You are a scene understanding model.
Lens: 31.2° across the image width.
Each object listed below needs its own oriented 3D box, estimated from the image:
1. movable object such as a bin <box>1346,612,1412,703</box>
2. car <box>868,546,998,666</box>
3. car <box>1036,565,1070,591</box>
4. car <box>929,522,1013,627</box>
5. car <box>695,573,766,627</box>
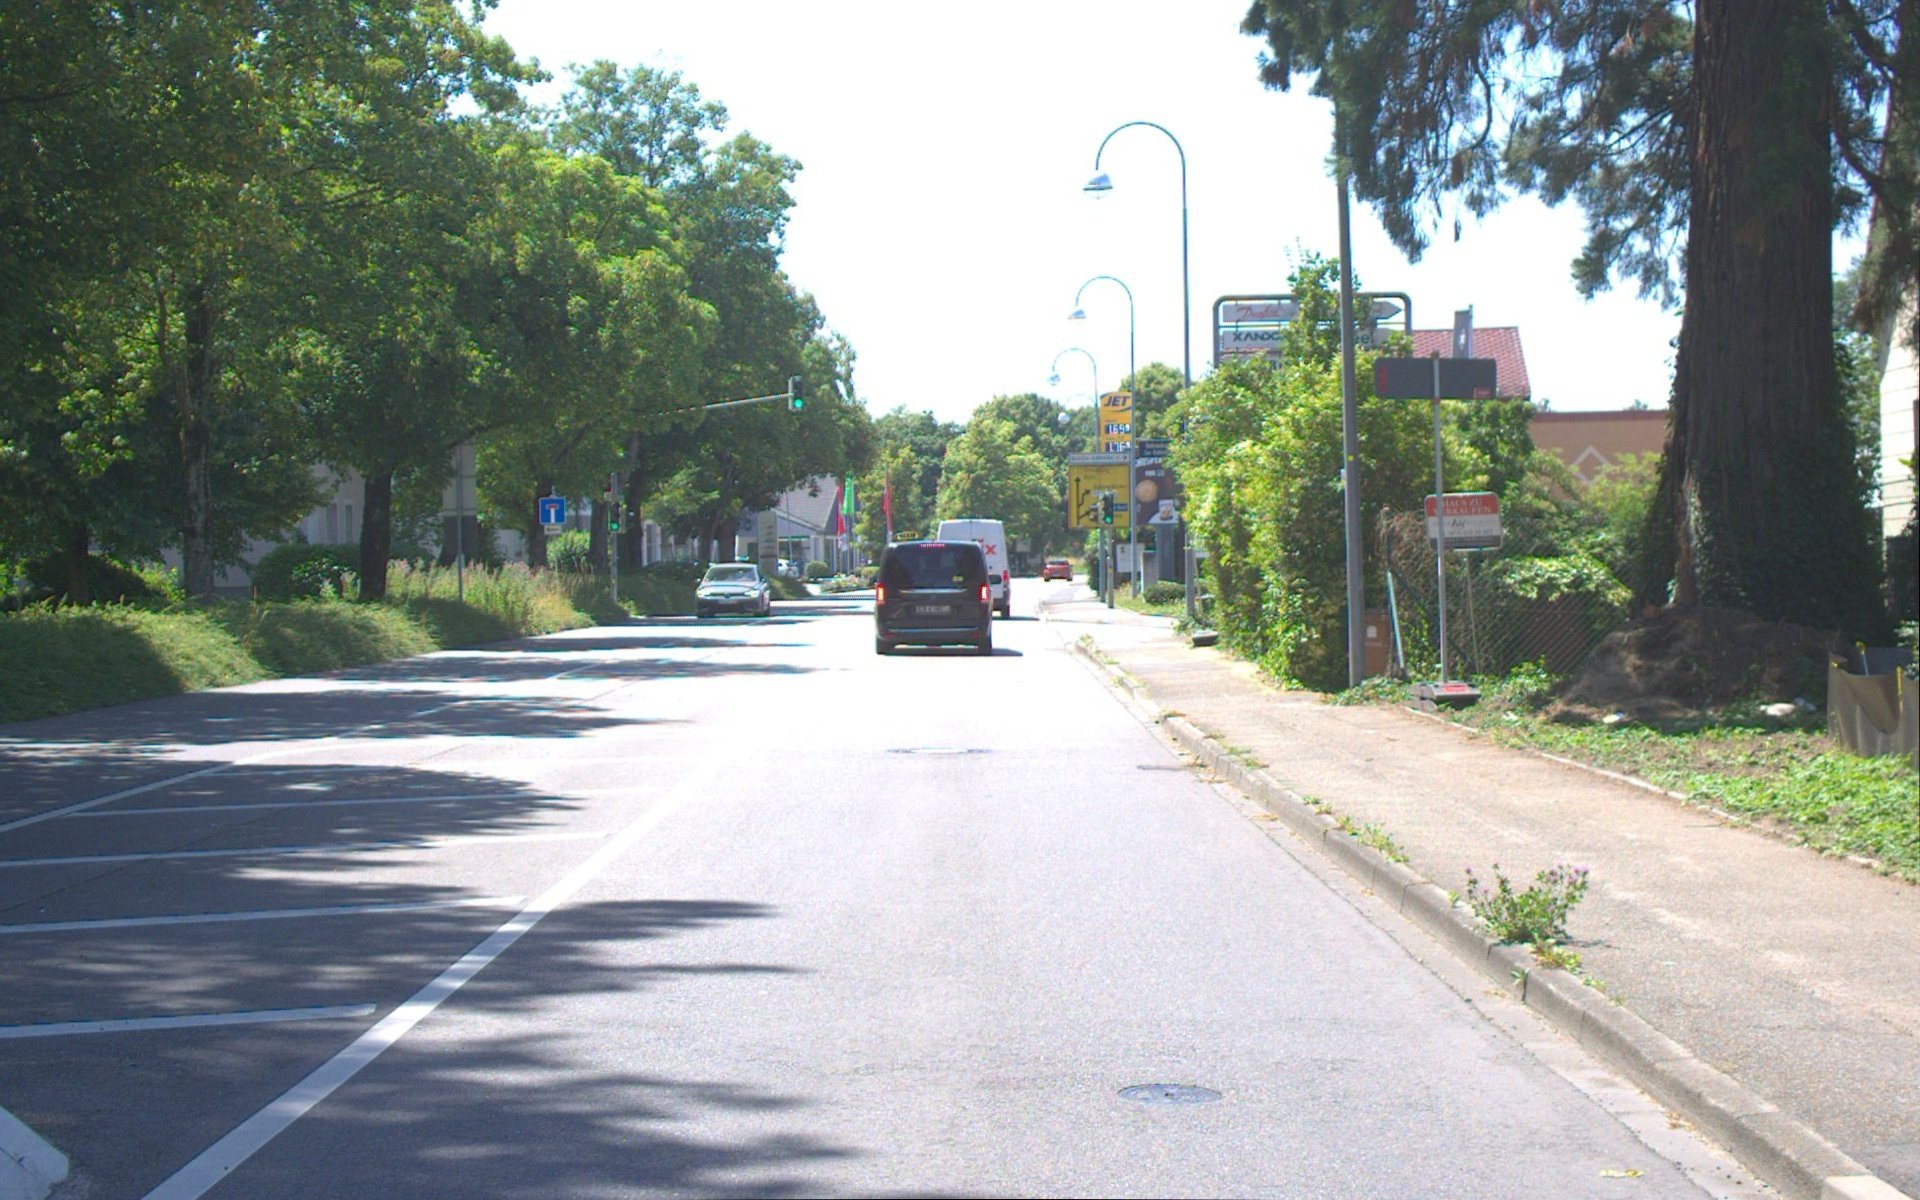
[{"bbox_3d":[4.324,0.586,35.470,0.471,0.924,0.523,1,0,34],"label":"movable object such as a bin"},{"bbox_3d":[-0.480,0.067,56.242,1.993,1.887,4.001,0,1,-2],"label":"car"},{"bbox_3d":[6.096,-1.467,225.744,1.857,1.637,4.001,0,1,-4],"label":"car"},{"bbox_3d":[0.323,-0.703,90.894,2.120,2.668,5.662,0,1,1],"label":"car"},{"bbox_3d":[-6.153,-0.008,92.431,1.721,1.422,4.148,0,0,-1],"label":"car"}]
